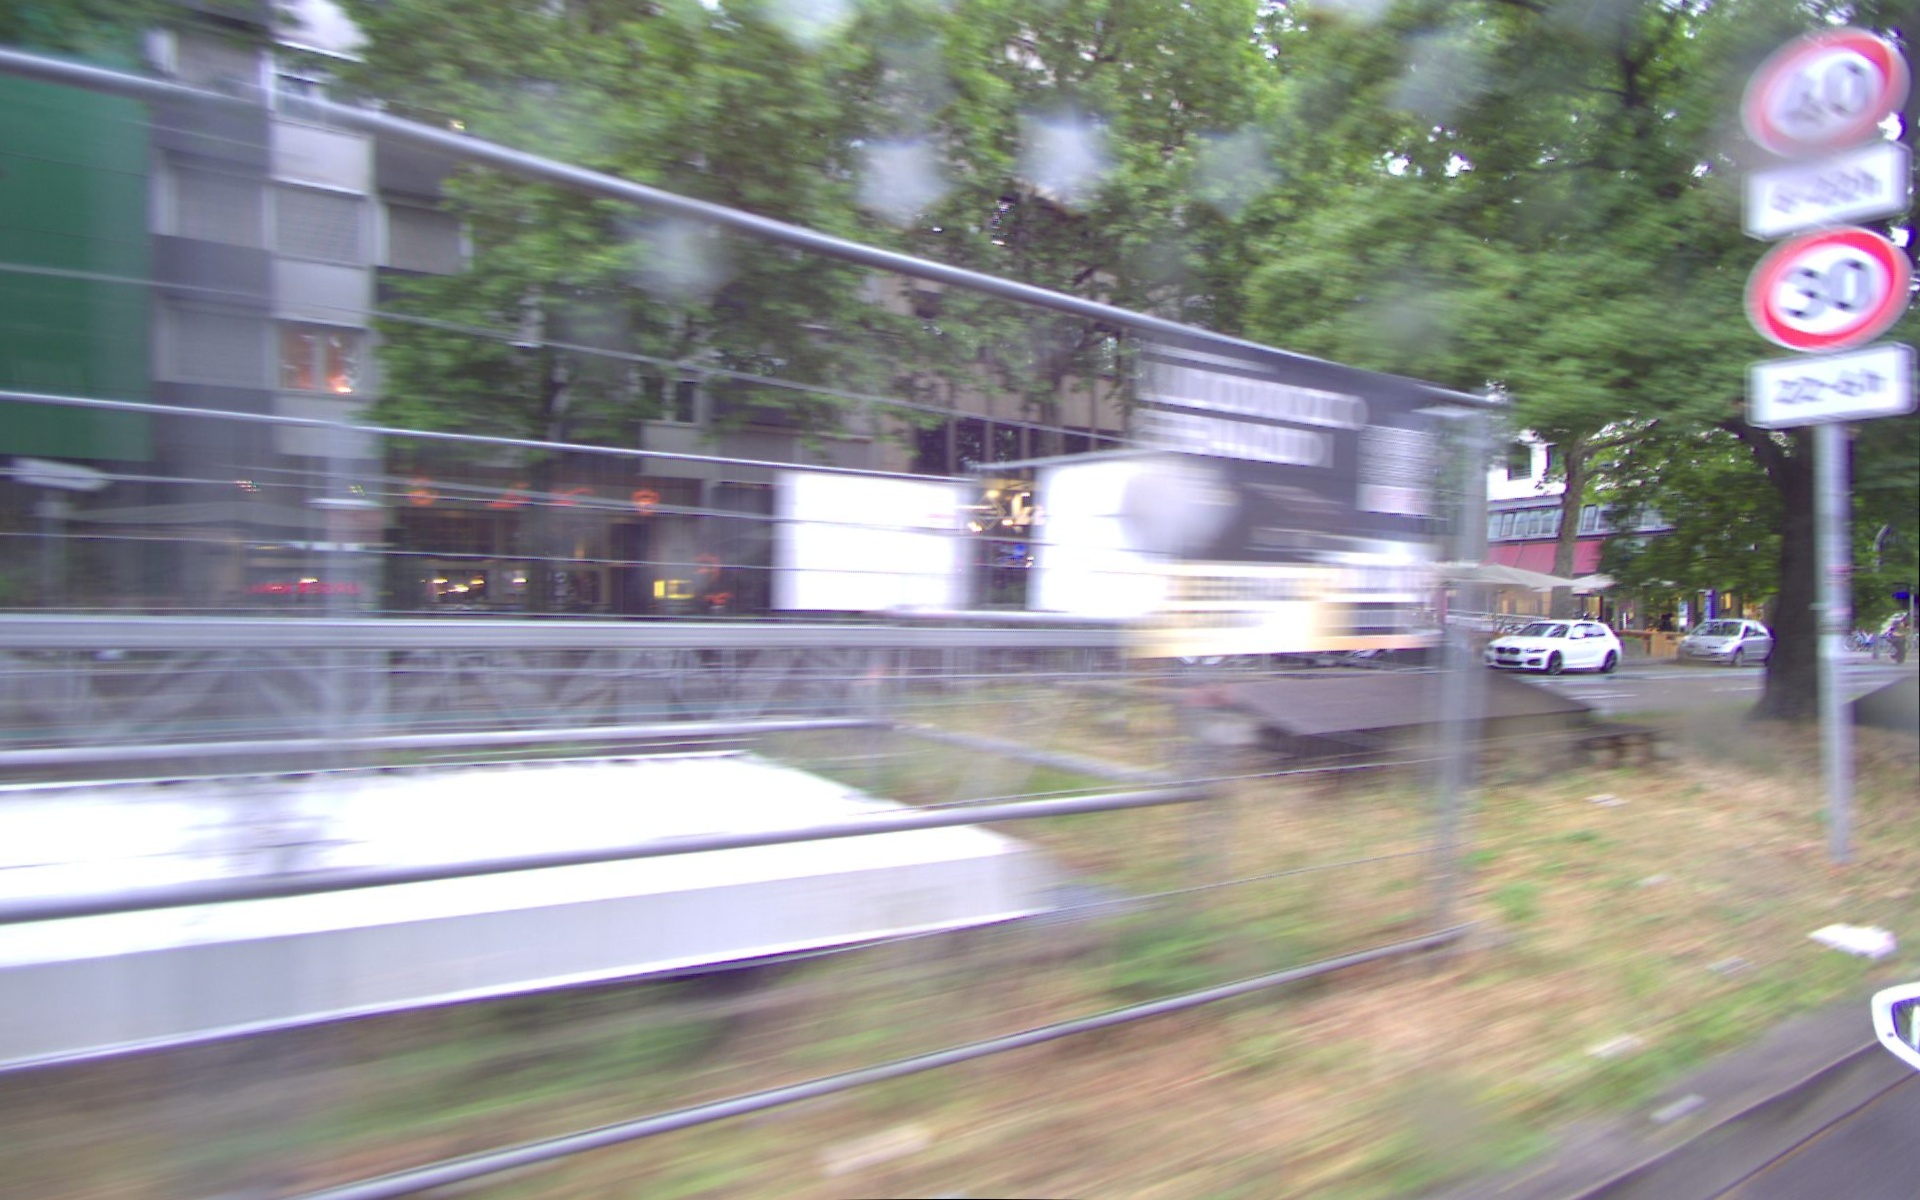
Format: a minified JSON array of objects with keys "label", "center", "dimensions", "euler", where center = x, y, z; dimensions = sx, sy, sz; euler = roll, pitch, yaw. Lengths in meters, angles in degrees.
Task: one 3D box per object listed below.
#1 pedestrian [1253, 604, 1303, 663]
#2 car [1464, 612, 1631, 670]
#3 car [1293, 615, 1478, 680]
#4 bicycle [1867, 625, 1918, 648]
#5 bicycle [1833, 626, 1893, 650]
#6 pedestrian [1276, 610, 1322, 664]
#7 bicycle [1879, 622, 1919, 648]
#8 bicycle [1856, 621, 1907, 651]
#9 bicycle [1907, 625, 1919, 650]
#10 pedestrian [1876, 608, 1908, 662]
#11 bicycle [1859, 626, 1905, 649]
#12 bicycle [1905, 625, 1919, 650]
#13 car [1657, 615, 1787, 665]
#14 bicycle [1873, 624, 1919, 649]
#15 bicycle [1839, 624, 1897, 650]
[{"label":"pedestrian","center":[8.339,0.875,26.370],"dimensions":[0.963,1.508,0.824],"euler":[1,0,-33]},{"label":"car","center":[16.127,1.076,27.536],"dimensions":[4.485,1.388,1.984],"euler":[1,2,-30]},{"label":"car","center":[10.262,1.089,24.159],"dimensions":[4.430,1.413,1.816],"euler":[1,0,-30]},{"label":"bicycle","center":[41.607,1.619,44.831],"dimensions":[0.505,0.975,1.606],"euler":[1,0,-36]},{"label":"bicycle","center":[38.954,1.623,43.360],"dimensions":[0.560,0.992,1.834],"euler":[1,0,-32]},{"label":"pedestrian","center":[9.130,0.987,27.022],"dimensions":[0.923,1.398,0.759],"euler":[1,0,-33]},{"label":"bicycle","center":[43.572,1.624,46.209],"dimensions":[0.560,1.152,1.831],"euler":[1,0,-36]},{"label":"bicycle","center":[40.416,1.581,44.071],"dimensions":[0.505,1.258,1.606],"euler":[1,0,-36]},{"label":"bicycle","center":[44.642,1.721,45.977],"dimensions":[0.560,1.152,1.832],"euler":[0,-1,-35]},{"label":"pedestrian","center":[33.159,1.228,35.740],"dimensions":[0.835,1.892,0.718],"euler":[1,0,-38]},{"label":"bicycle","center":[40.957,1.660,44.625],"dimensions":[0.561,0.992,1.452],"euler":[1,0,-37]},{"label":"bicycle","center":[45.065,1.735,46.497],"dimensions":[0.560,1.165,1.832],"euler":[0,-1,-35]},{"label":"car","center":[25.020,1.262,32.943],"dimensions":[4.468,1.529,1.983],"euler":[1,-1,-32]},{"label":"bicycle","center":[42.941,1.653,45.831],"dimensions":[0.560,1.112,1.808],"euler":[1,0,-36]},{"label":"bicycle","center":[39.735,1.611,43.980],"dimensions":[0.609,1.112,1.831],"euler":[1,0,-37]}]
